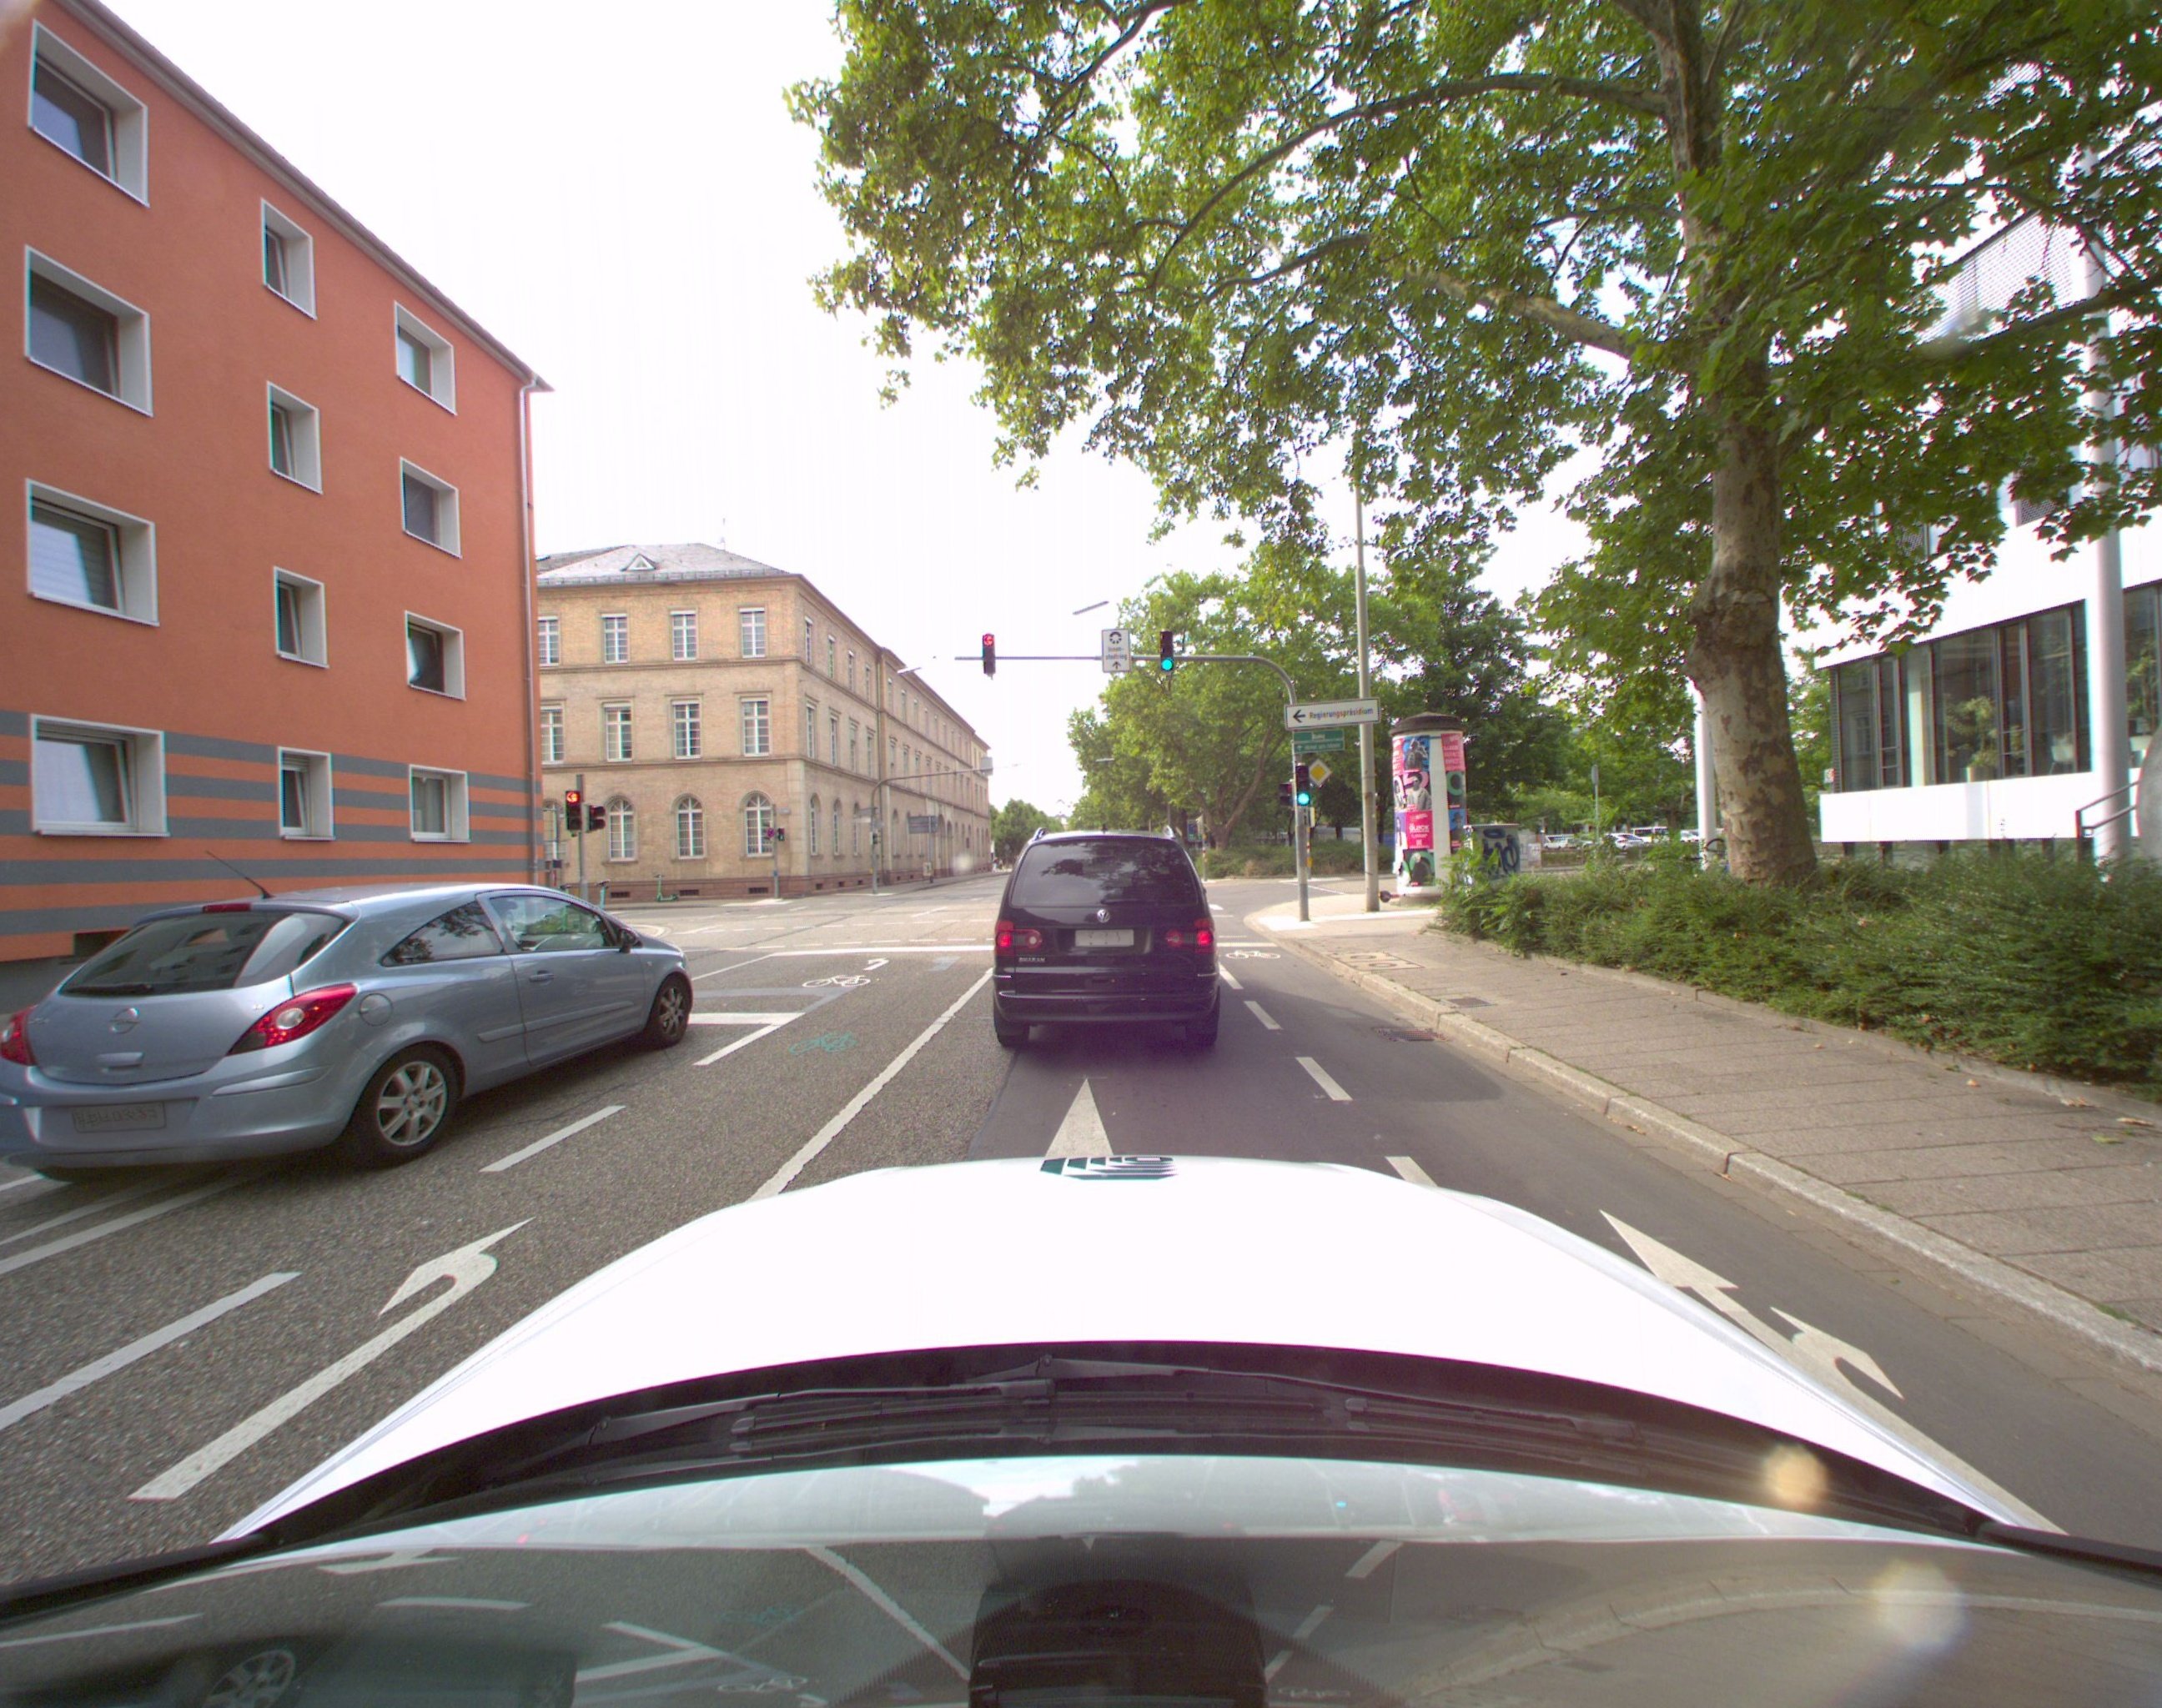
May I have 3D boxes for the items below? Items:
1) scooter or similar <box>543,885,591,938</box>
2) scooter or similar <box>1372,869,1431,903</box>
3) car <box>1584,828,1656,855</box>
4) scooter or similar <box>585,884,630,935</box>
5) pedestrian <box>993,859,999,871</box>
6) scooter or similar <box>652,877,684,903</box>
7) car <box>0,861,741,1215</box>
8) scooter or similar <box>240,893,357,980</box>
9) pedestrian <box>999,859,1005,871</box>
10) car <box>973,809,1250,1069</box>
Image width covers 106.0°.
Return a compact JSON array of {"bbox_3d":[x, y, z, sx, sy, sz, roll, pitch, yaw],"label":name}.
[{"bbox_3d":[-11.618,1.278,18.432,0.377,1.147,1.141,-2,-2,-1],"label":"scooter or similar"},{"bbox_3d":[7.565,0.748,19.235,1.214,0.736,0.369,-2,0,1],"label":"scooter or similar"},{"bbox_3d":[35.423,-0.811,53.680,1.955,1.651,4.152,-2,0,0],"label":"car"},{"bbox_3d":[-11.010,1.272,18.961,0.377,1.144,1.141,-2,-2,-1],"label":"scooter or similar"},{"bbox_3d":[-10.190,1.360,97.655,0.555,1.435,0.579,-2,0,1],"label":"pedestrian"},{"bbox_3d":[-17.207,1.501,33.953,1.134,1.049,0.379,-2,-2,1],"label":"scooter or similar"},{"bbox_3d":[-4.214,0.834,5.690,1.706,1.420,4.254,-4,0,1],"label":"car"},{"bbox_3d":[-11.682,1.199,12.213,0.376,1.184,1.390,-2,-2,2],"label":"scooter or similar"},{"bbox_3d":[-9.469,1.342,97.261,0.555,1.435,0.579,-2,0,1],"label":"pedestrian"},{"bbox_3d":[0.265,0.579,7.920,1.867,1.745,4.575,-2,0,1],"label":"car"}]
